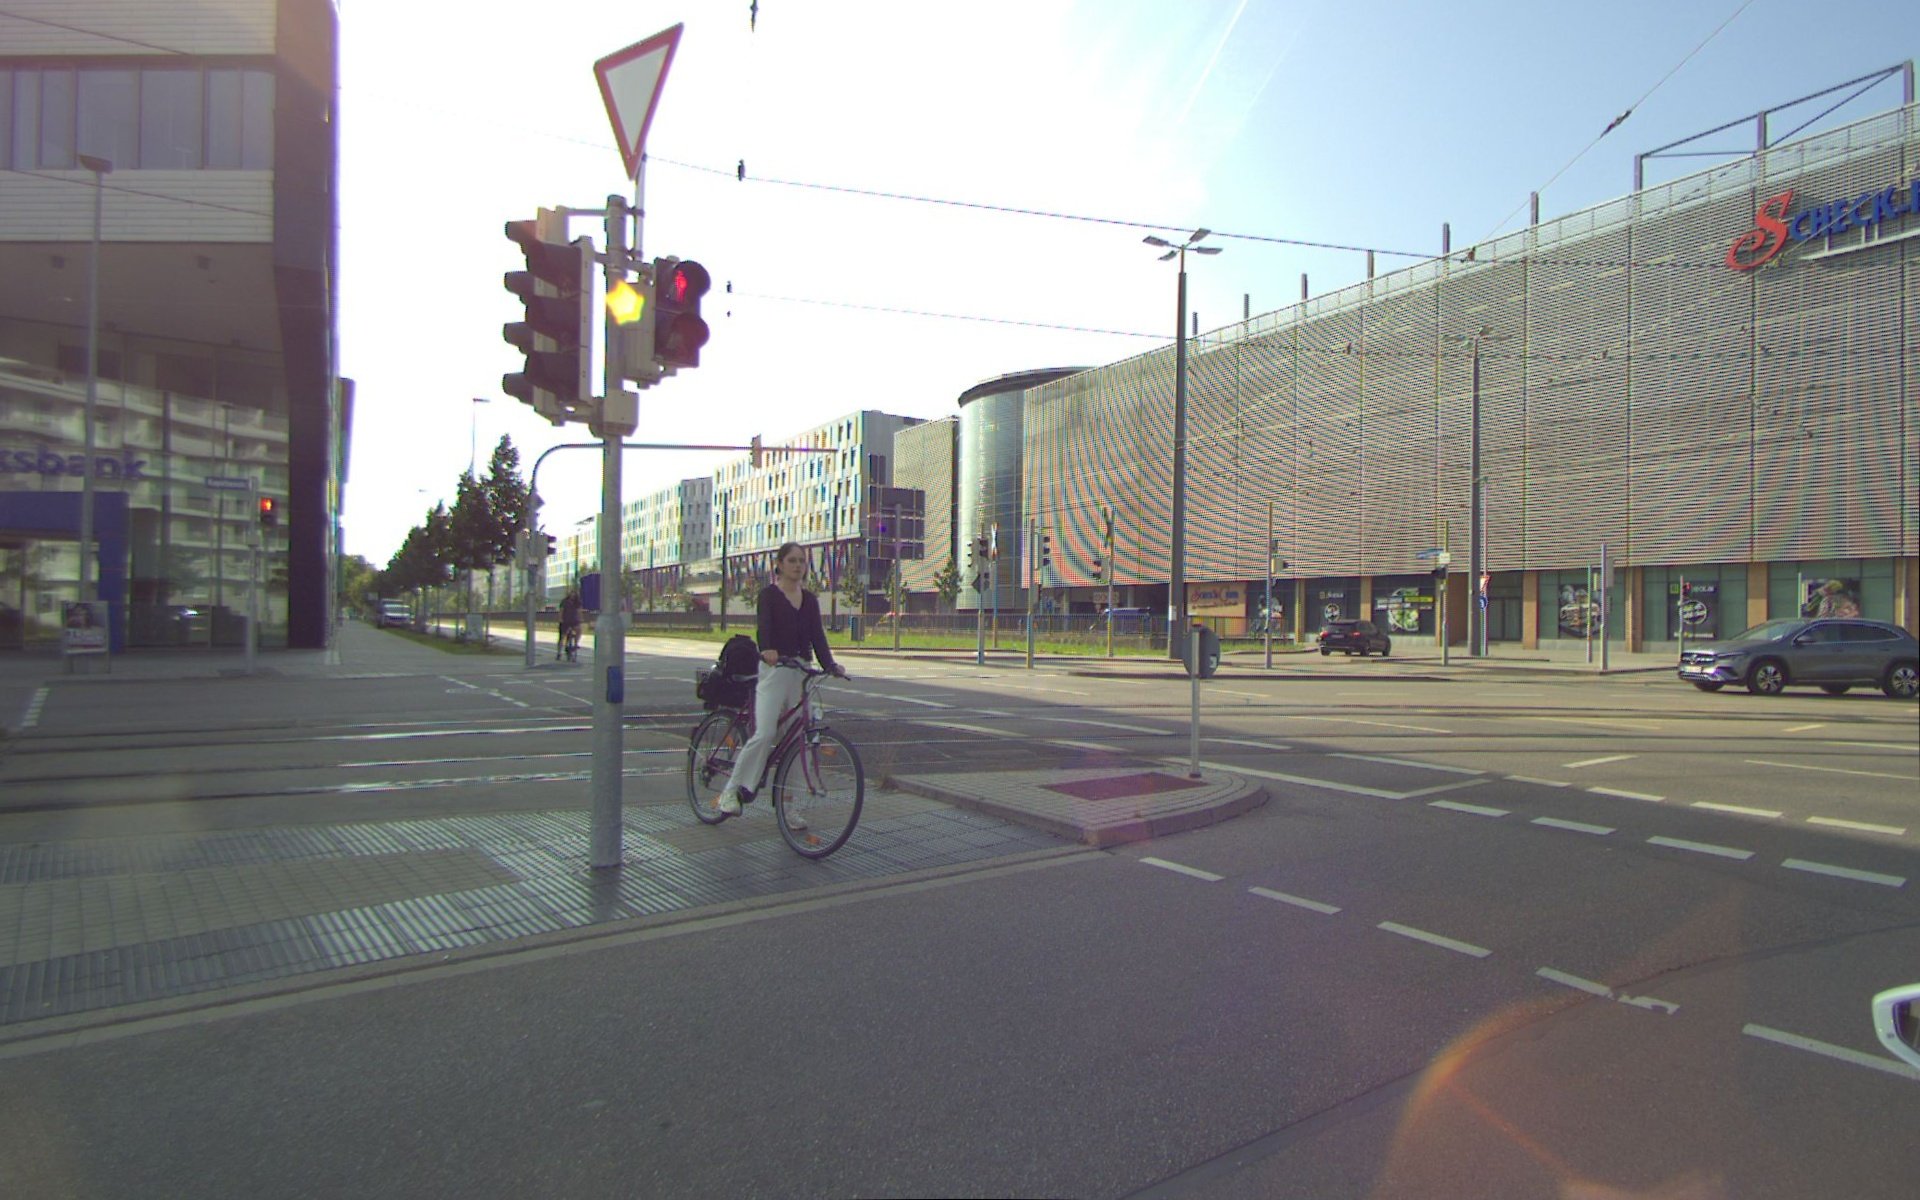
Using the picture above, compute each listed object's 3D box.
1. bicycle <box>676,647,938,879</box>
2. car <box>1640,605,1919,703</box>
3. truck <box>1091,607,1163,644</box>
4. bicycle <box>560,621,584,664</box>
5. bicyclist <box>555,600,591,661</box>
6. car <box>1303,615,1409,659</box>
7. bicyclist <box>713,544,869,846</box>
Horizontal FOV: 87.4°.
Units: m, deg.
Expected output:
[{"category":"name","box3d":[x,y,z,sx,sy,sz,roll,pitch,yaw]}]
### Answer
[{"category":"bicycle","box3d":[-0.989,0.893,6.125,0.665,1.113,1.782,2,0,-43]},{"category":"car","box3d":[17.326,1.095,21.093,4.720,1.807,1.955,2,0,0]},{"category":"truck","box3d":[11.008,1.678,66.437,2.187,2.352,4.503,1,-1,-37]},{"category":"bicycle","box3d":[-10.600,1.139,27.391,0.413,1.070,1.946,2,0,-26]},{"category":"bicyclist","box3d":[-10.562,0.824,27.391,0.773,1.607,0.926,2,0,-27]},{"category":"car","box3d":[15.987,1.478,40.552,3.952,1.718,1.985,1,-1,-30]},{"category":"bicyclist","box3d":[-1.043,0.548,6.194,0.665,1.725,0.629,2,0,-43]}]
